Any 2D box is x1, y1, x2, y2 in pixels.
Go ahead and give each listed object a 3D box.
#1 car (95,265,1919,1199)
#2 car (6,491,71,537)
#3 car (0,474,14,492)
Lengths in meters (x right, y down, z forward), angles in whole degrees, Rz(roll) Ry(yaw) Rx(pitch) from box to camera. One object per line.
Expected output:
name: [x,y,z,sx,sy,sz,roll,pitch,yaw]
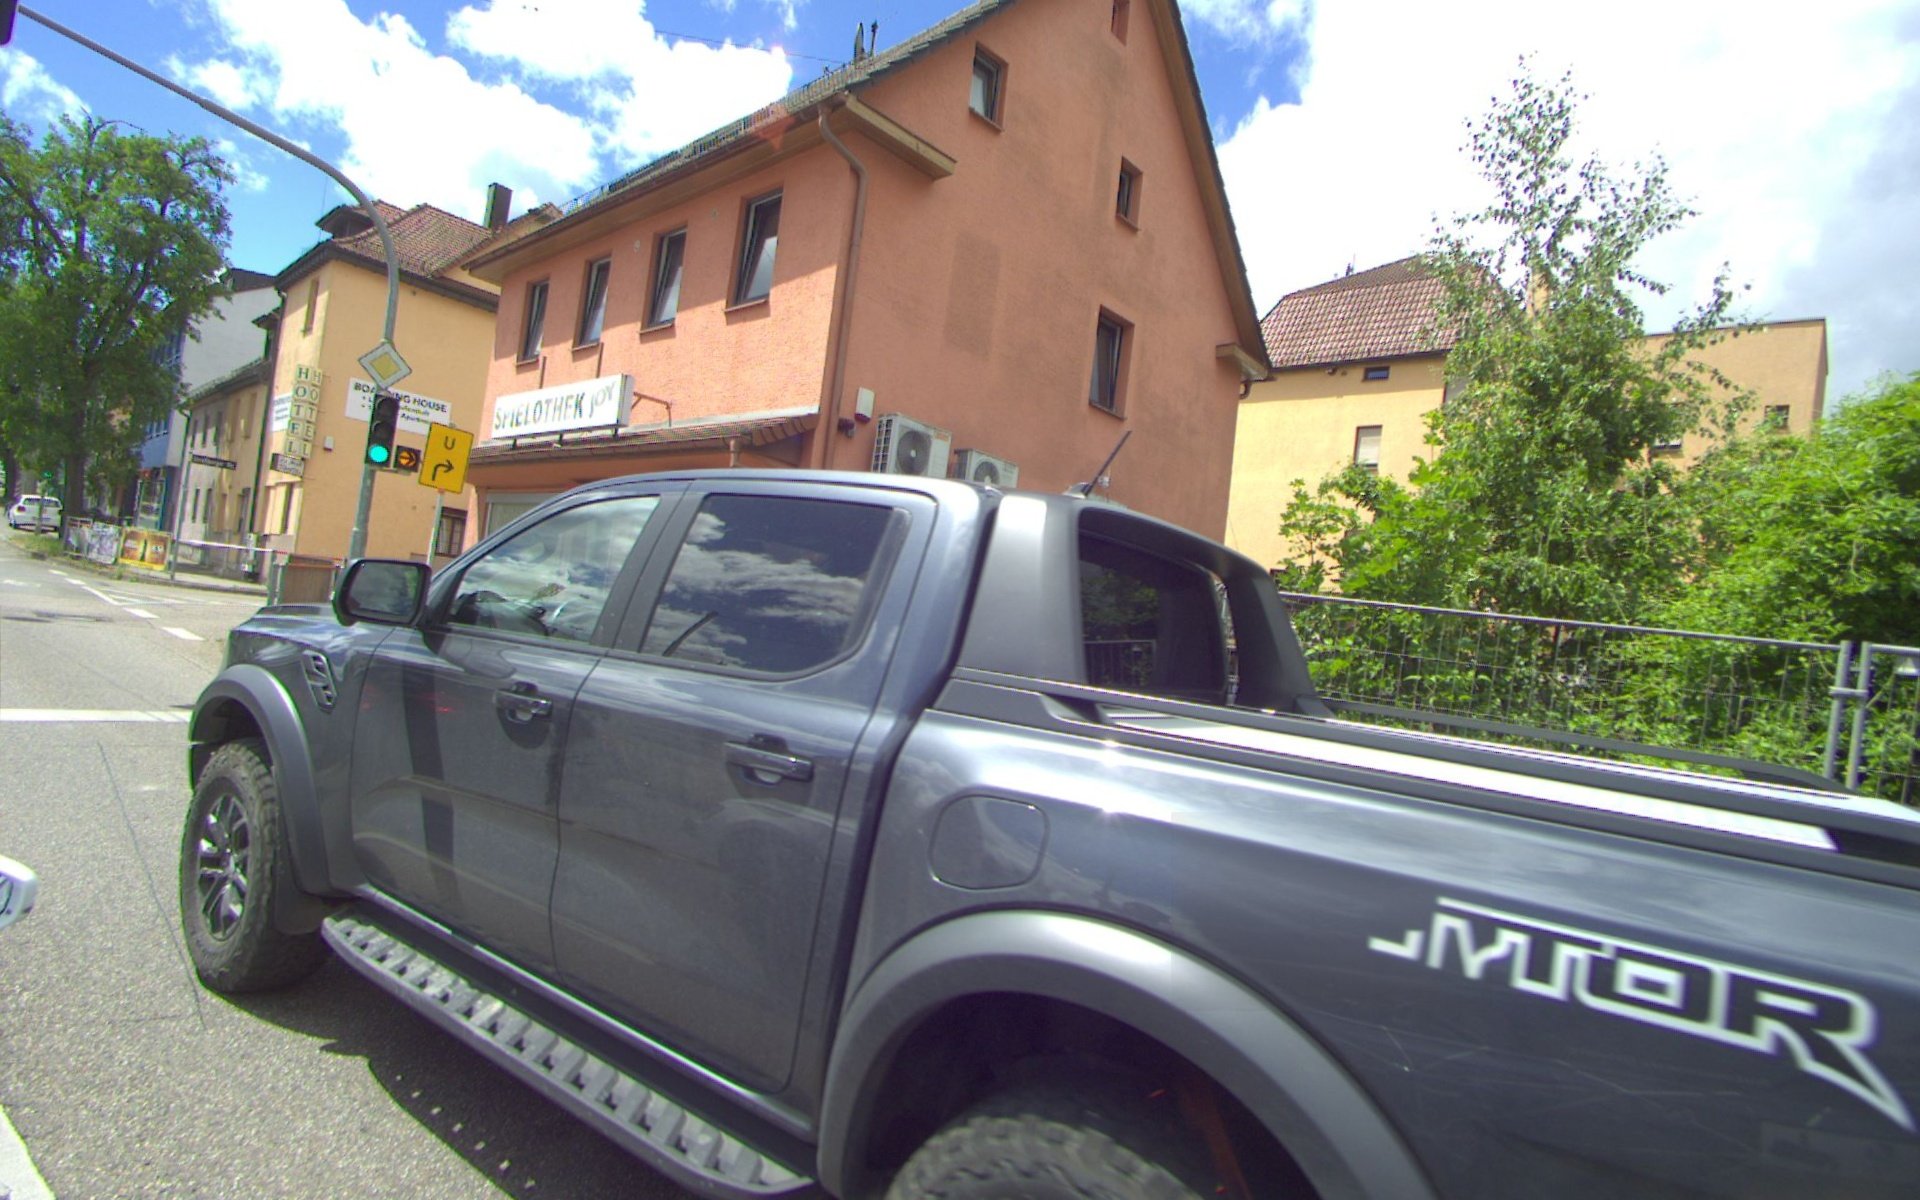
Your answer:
car: [-0.454,0.543,3.056,5.070,1.909,2.000,6,-1,35]
car: [-39.464,-3.673,43.057,1.782,1.615,3.950,7,-1,-45]
car: [-90.635,-11.134,94.692,1.806,1.486,3.959,8,-1,-37]
